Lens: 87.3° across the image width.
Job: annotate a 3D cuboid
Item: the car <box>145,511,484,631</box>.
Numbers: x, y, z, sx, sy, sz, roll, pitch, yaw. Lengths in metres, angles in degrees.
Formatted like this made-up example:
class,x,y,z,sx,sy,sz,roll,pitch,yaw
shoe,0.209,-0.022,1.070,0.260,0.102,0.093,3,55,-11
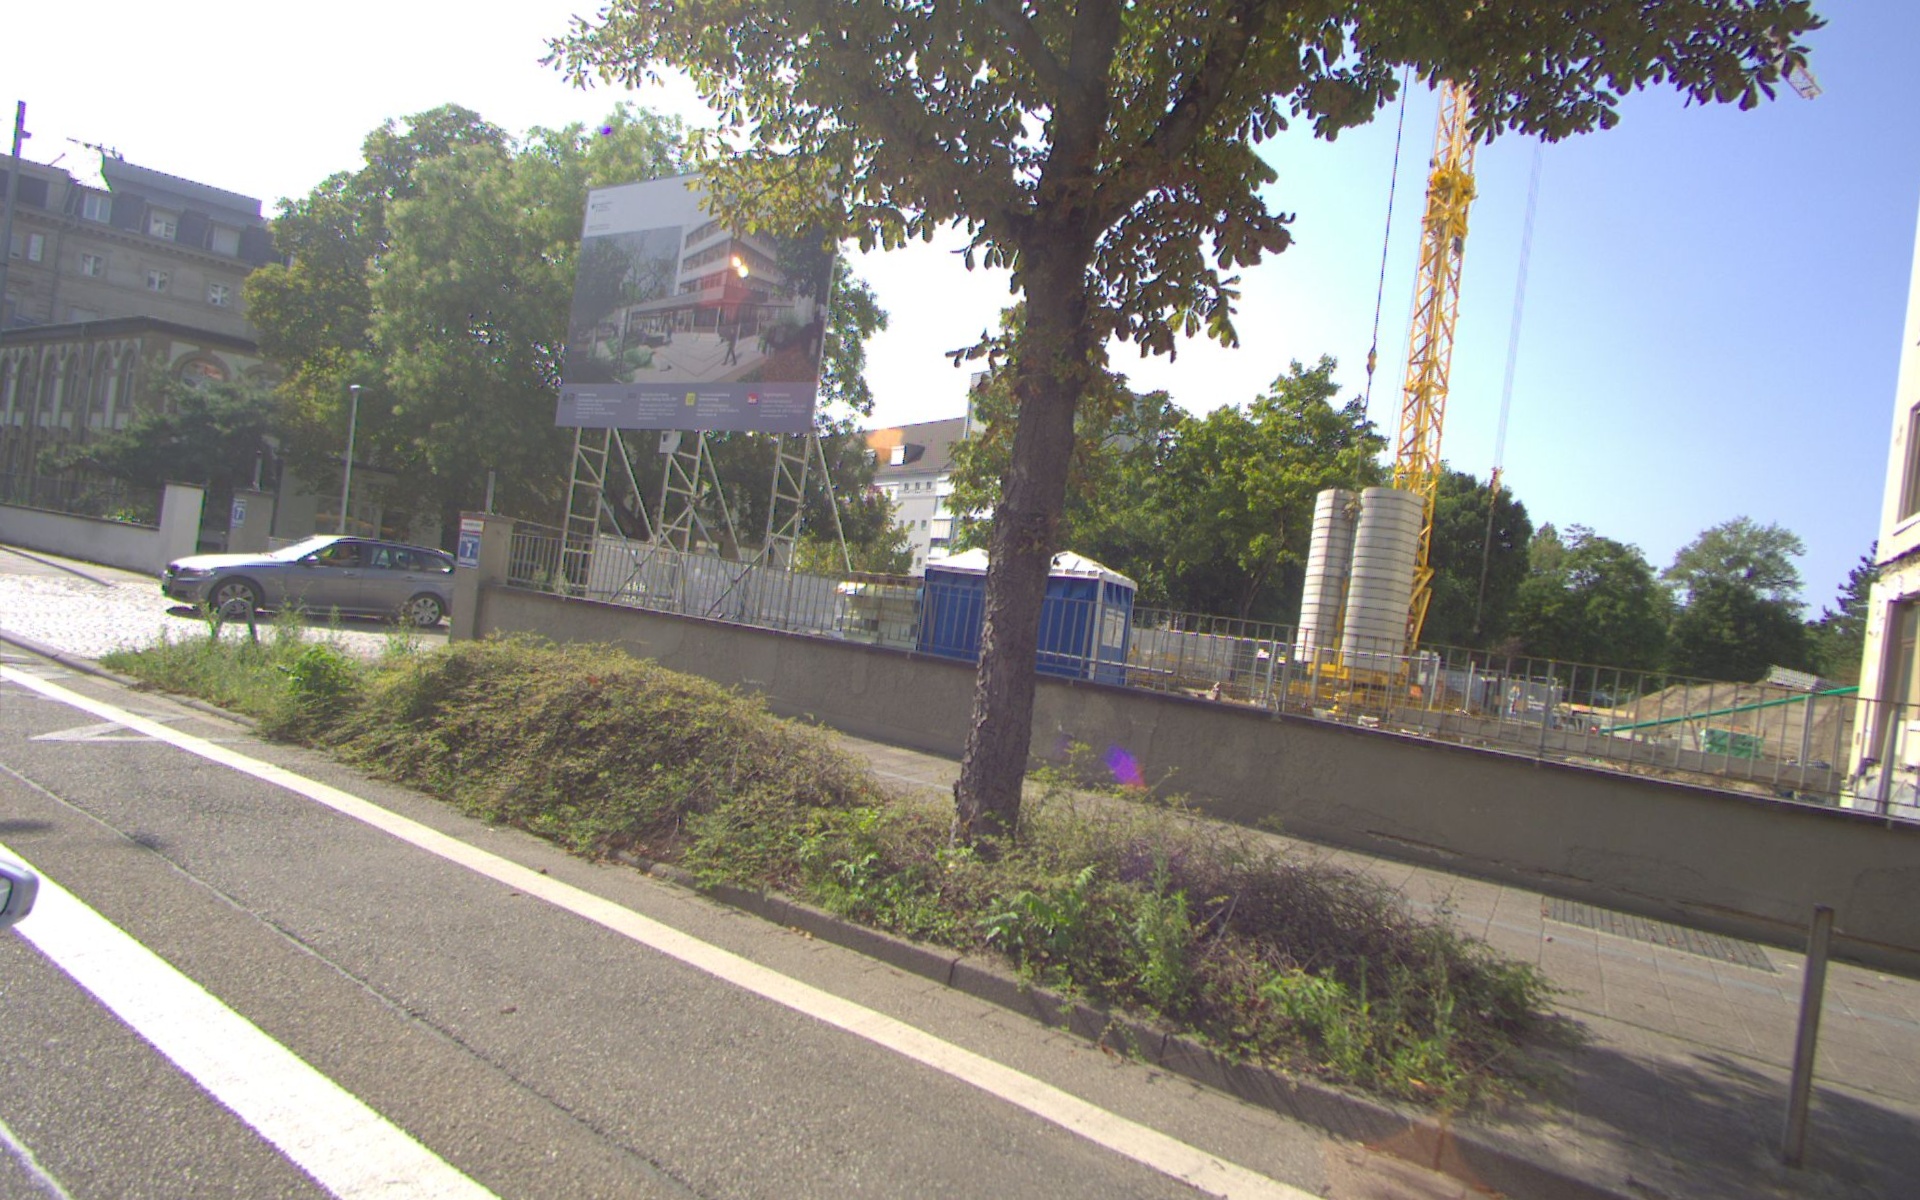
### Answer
class,x,y,z,sx,sy,sz,roll,pitch,yaw
car,-10.725,-0.431,16.998,1.780,1.426,4.417,6,-1,40
